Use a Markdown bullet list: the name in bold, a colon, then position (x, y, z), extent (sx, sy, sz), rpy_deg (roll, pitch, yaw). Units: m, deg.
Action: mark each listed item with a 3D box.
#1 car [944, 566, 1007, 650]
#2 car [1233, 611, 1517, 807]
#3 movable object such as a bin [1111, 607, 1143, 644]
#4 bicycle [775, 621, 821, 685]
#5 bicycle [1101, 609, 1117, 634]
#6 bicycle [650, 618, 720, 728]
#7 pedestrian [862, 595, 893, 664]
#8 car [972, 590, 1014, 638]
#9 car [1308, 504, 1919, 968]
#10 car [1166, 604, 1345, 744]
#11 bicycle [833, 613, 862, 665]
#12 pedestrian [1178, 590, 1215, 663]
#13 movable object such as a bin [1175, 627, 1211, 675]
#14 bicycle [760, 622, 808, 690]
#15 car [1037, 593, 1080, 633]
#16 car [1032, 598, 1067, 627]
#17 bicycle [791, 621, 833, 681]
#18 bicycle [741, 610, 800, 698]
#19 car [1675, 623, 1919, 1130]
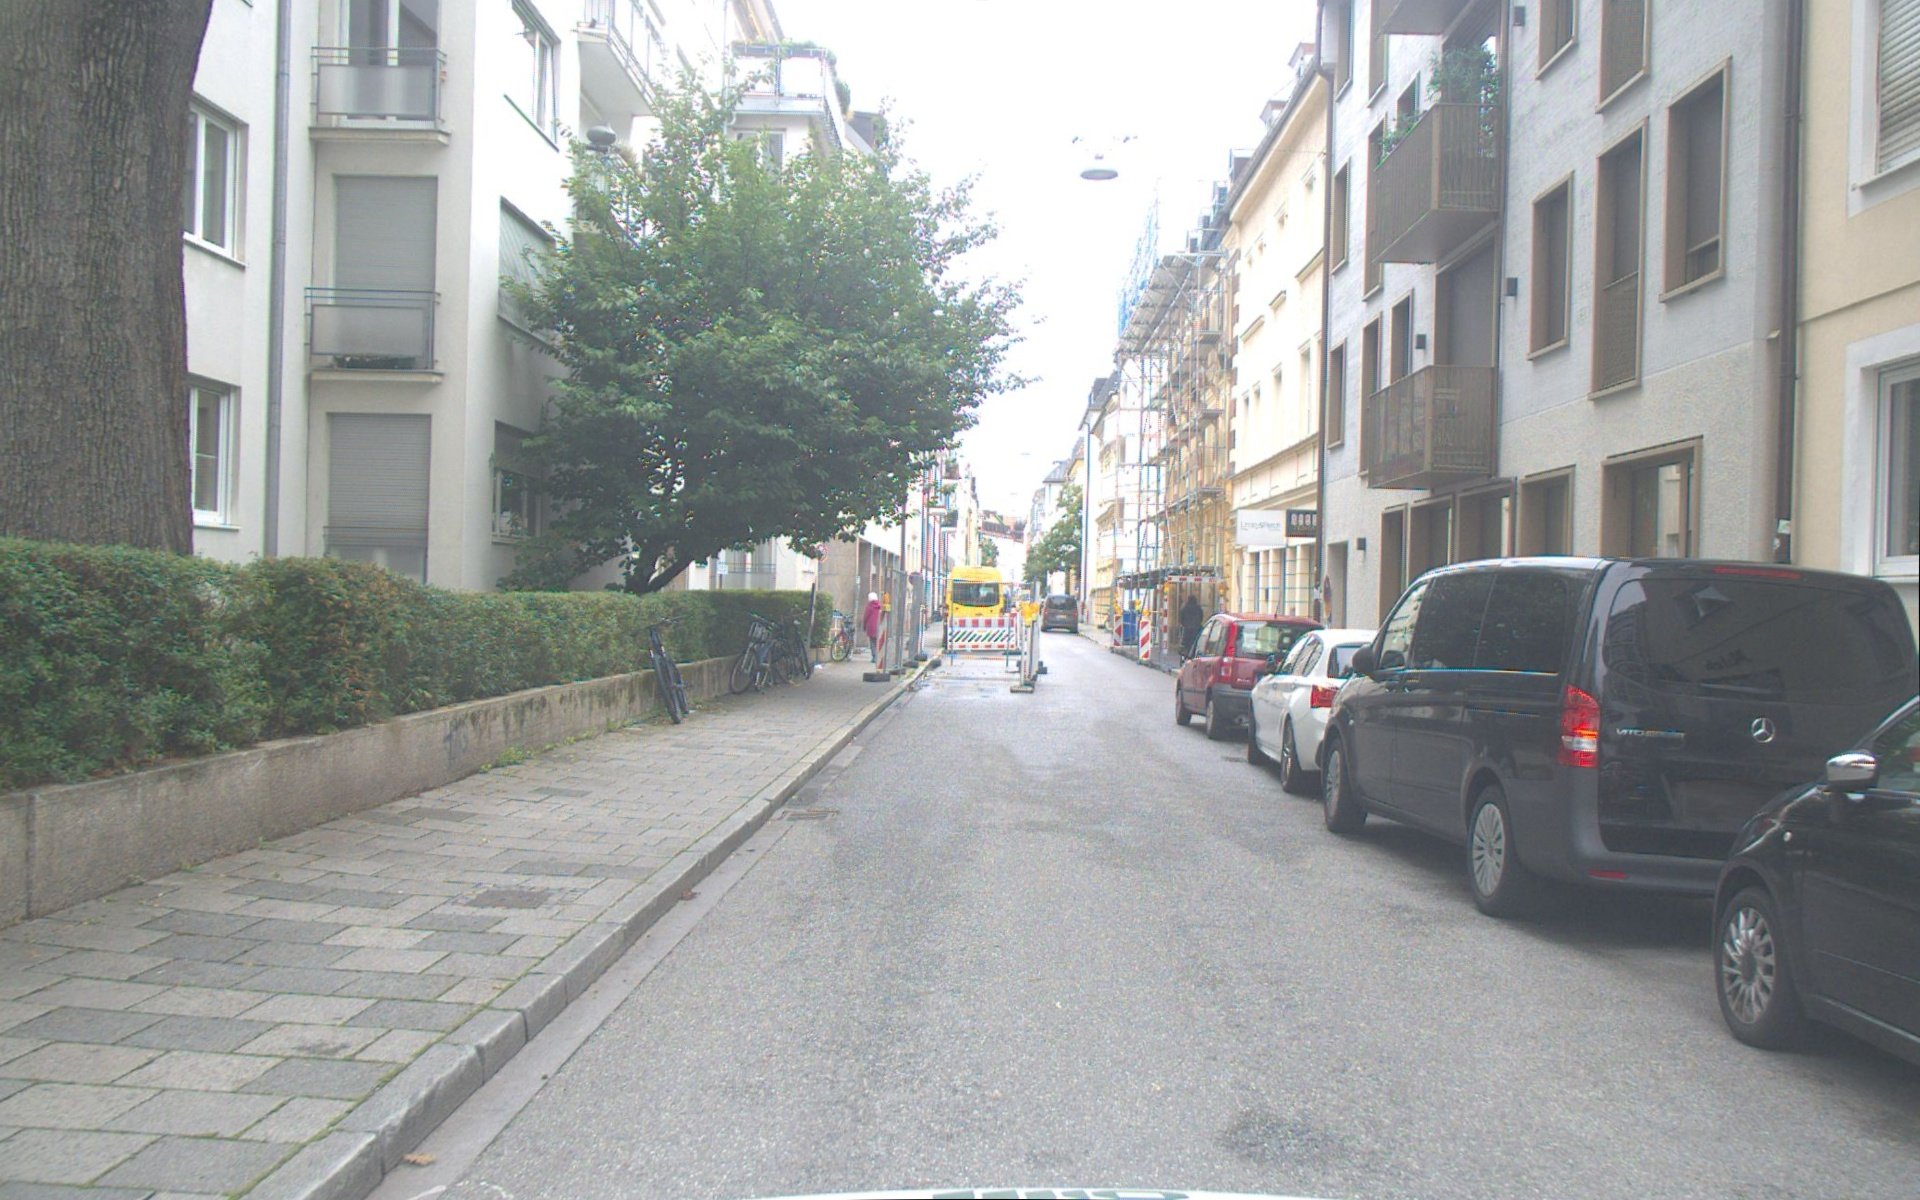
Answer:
- **car**: position (0.526, 0.257, 55.642), extent (1.952, 2.624, 6.737), rpy_deg (1, 0, 0)
- **car**: position (3.780, 0.912, 15.818), extent (1.731, 1.486, 4.381), rpy_deg (3, 0, 3)
- **movable object such as a bin**: position (6.590, 0.995, 65.154), extent (1.063, 1.370, 1.318), rpy_deg (-2, 0, 13)
- **bicycle**: position (-2.678, 0.872, 27.413), extent (0.434, 0.995, 1.854), rpy_deg (4, -1, 2)
- **bicycle**: position (7.260, 1.032, 80.662), extent (0.625, 1.173, 1.916), rpy_deg (-2, 1, 2)
- **bicycle**: position (-2.965, 0.758, 17.932), extent (0.339, 1.090, 1.780), rpy_deg (4, 0, 1)
- **pedestrian**: position (-1.895, 0.672, 37.957), extent (0.624, 1.559, 0.747), rpy_deg (0, 0, 3)
- **car**: position (1.408, 0.587, 70.751), extent (1.691, 1.930, 5.509), rpy_deg (-1, 0, 1)
- **car**: position (3.669, 0.620, 9.925), extent (1.950, 2.011, 4.884), rpy_deg (3, 0, -1)
- **car**: position (3.731, 0.875, 21.510), extent (1.735, 1.550, 4.068), rpy_deg (3, 0, 3)
- **bicycle**: position (-2.524, 0.867, 37.221), extent (0.369, 1.081, 1.598), rpy_deg (7, 0, 2)
- **pedestrian**: position (5.948, 0.654, 41.609), extent (0.714, 1.783, 0.988), rpy_deg (-2, 0, 0)
- **movable object such as a bin**: position (5.968, 1.289, 42.404), extent (0.714, 1.161, 0.988), rpy_deg (-3, 0, 0)
- **bicycle**: position (-2.733, 0.863, 25.853), extent (0.427, 0.995, 1.699), rpy_deg (4, -1, 2)
- **car**: position (5.188, 0.648, 87.594), extent (1.953, 1.965, 4.660), rpy_deg (2, 0, 0)
- **car**: position (5.256, 0.709, 97.610), extent (1.855, 1.670, 4.322), rpy_deg (1, 0, 0)
- **bicycle**: position (-2.613, 0.886, 29.278), extent (0.434, 0.995, 1.816), rpy_deg (4, -1, 2)
- **bicycle**: position (-2.665, 0.750, 23.386), extent (0.478, 1.171, 1.699), rpy_deg (4, -1, 2)
- **car**: position (3.712, 0.884, 4.976), extent (1.601, 1.497, 3.538), rpy_deg (3, 0, 1)
